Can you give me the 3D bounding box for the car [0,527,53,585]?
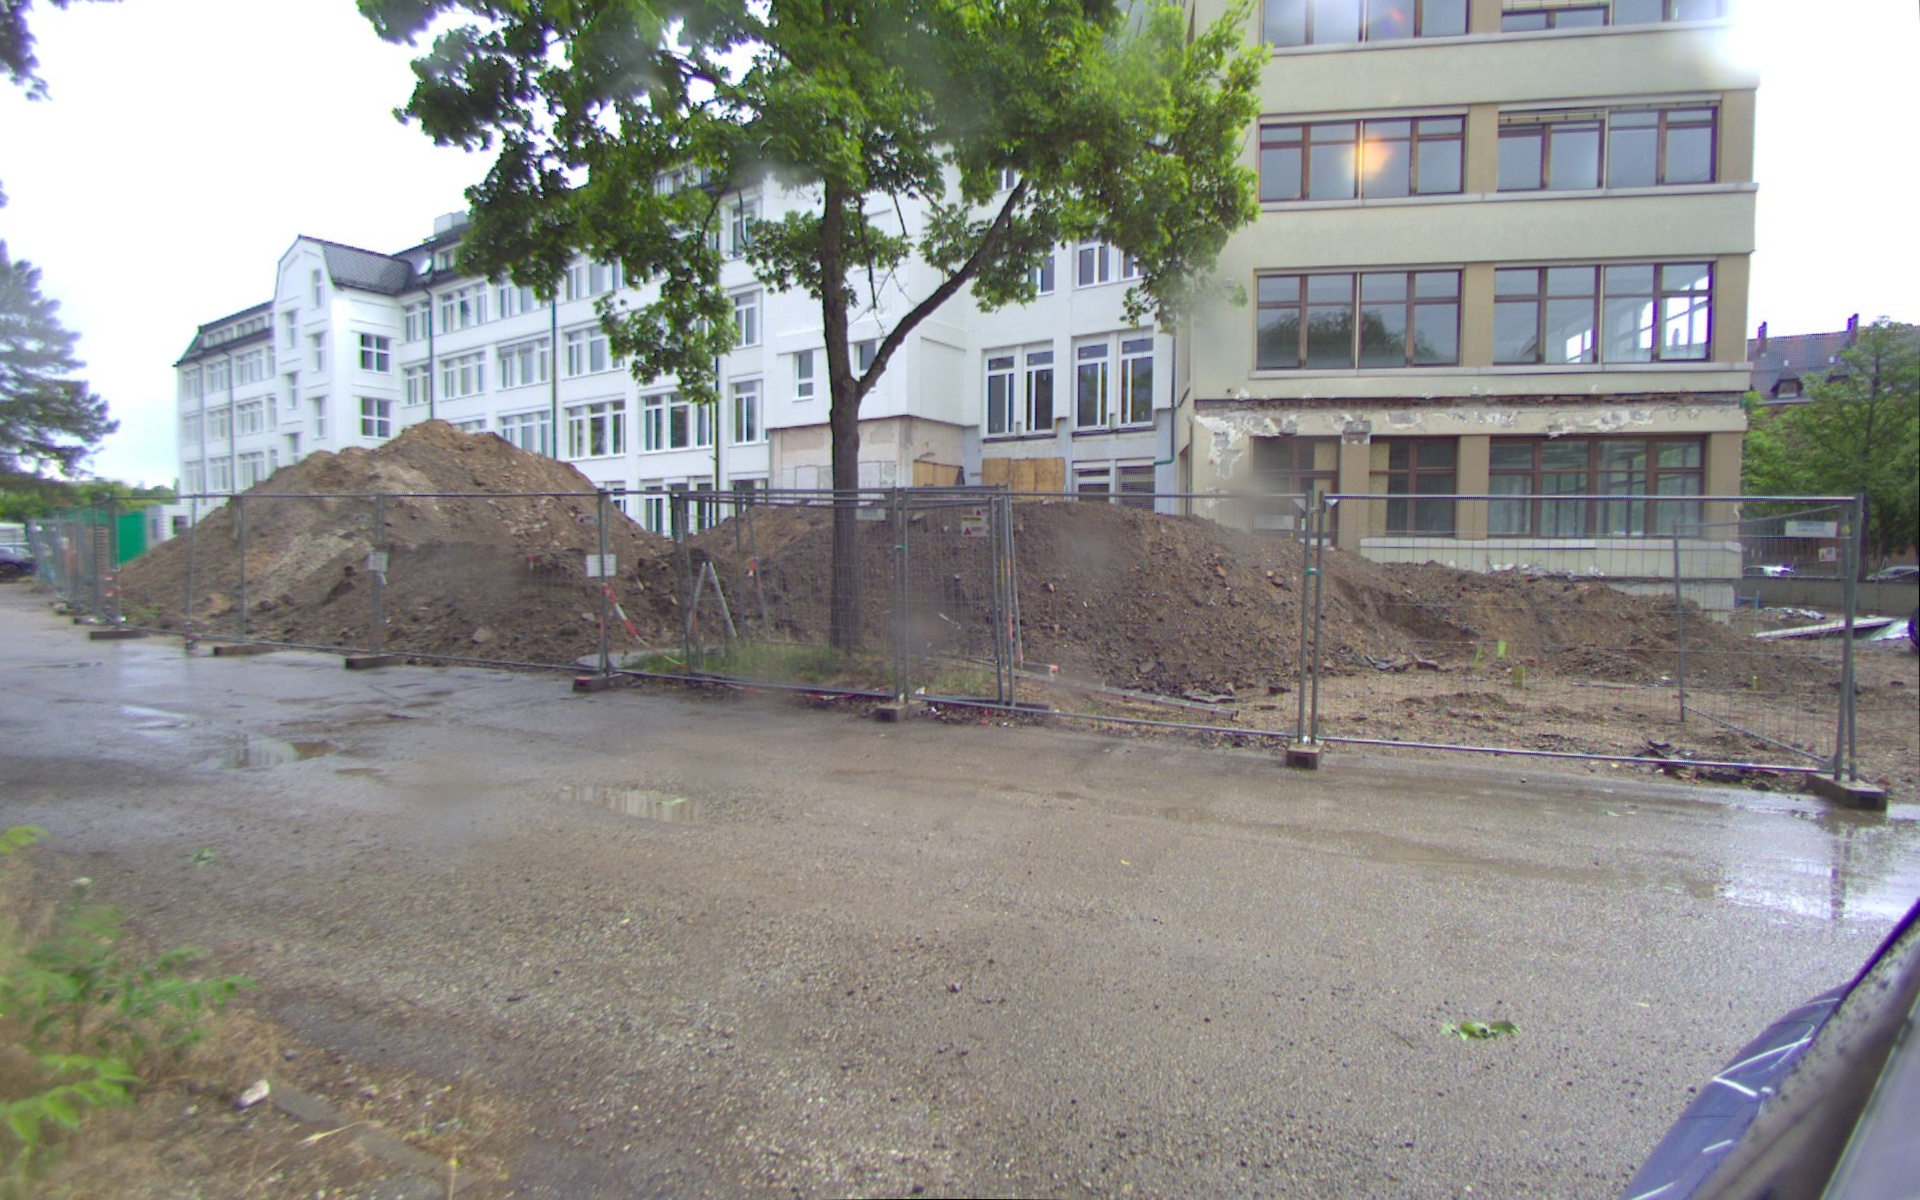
[{"bbox_3d":[-34.740,-1.527,34.898,2.388,1.963,4.728,3,5,36],"label":"car"}]
